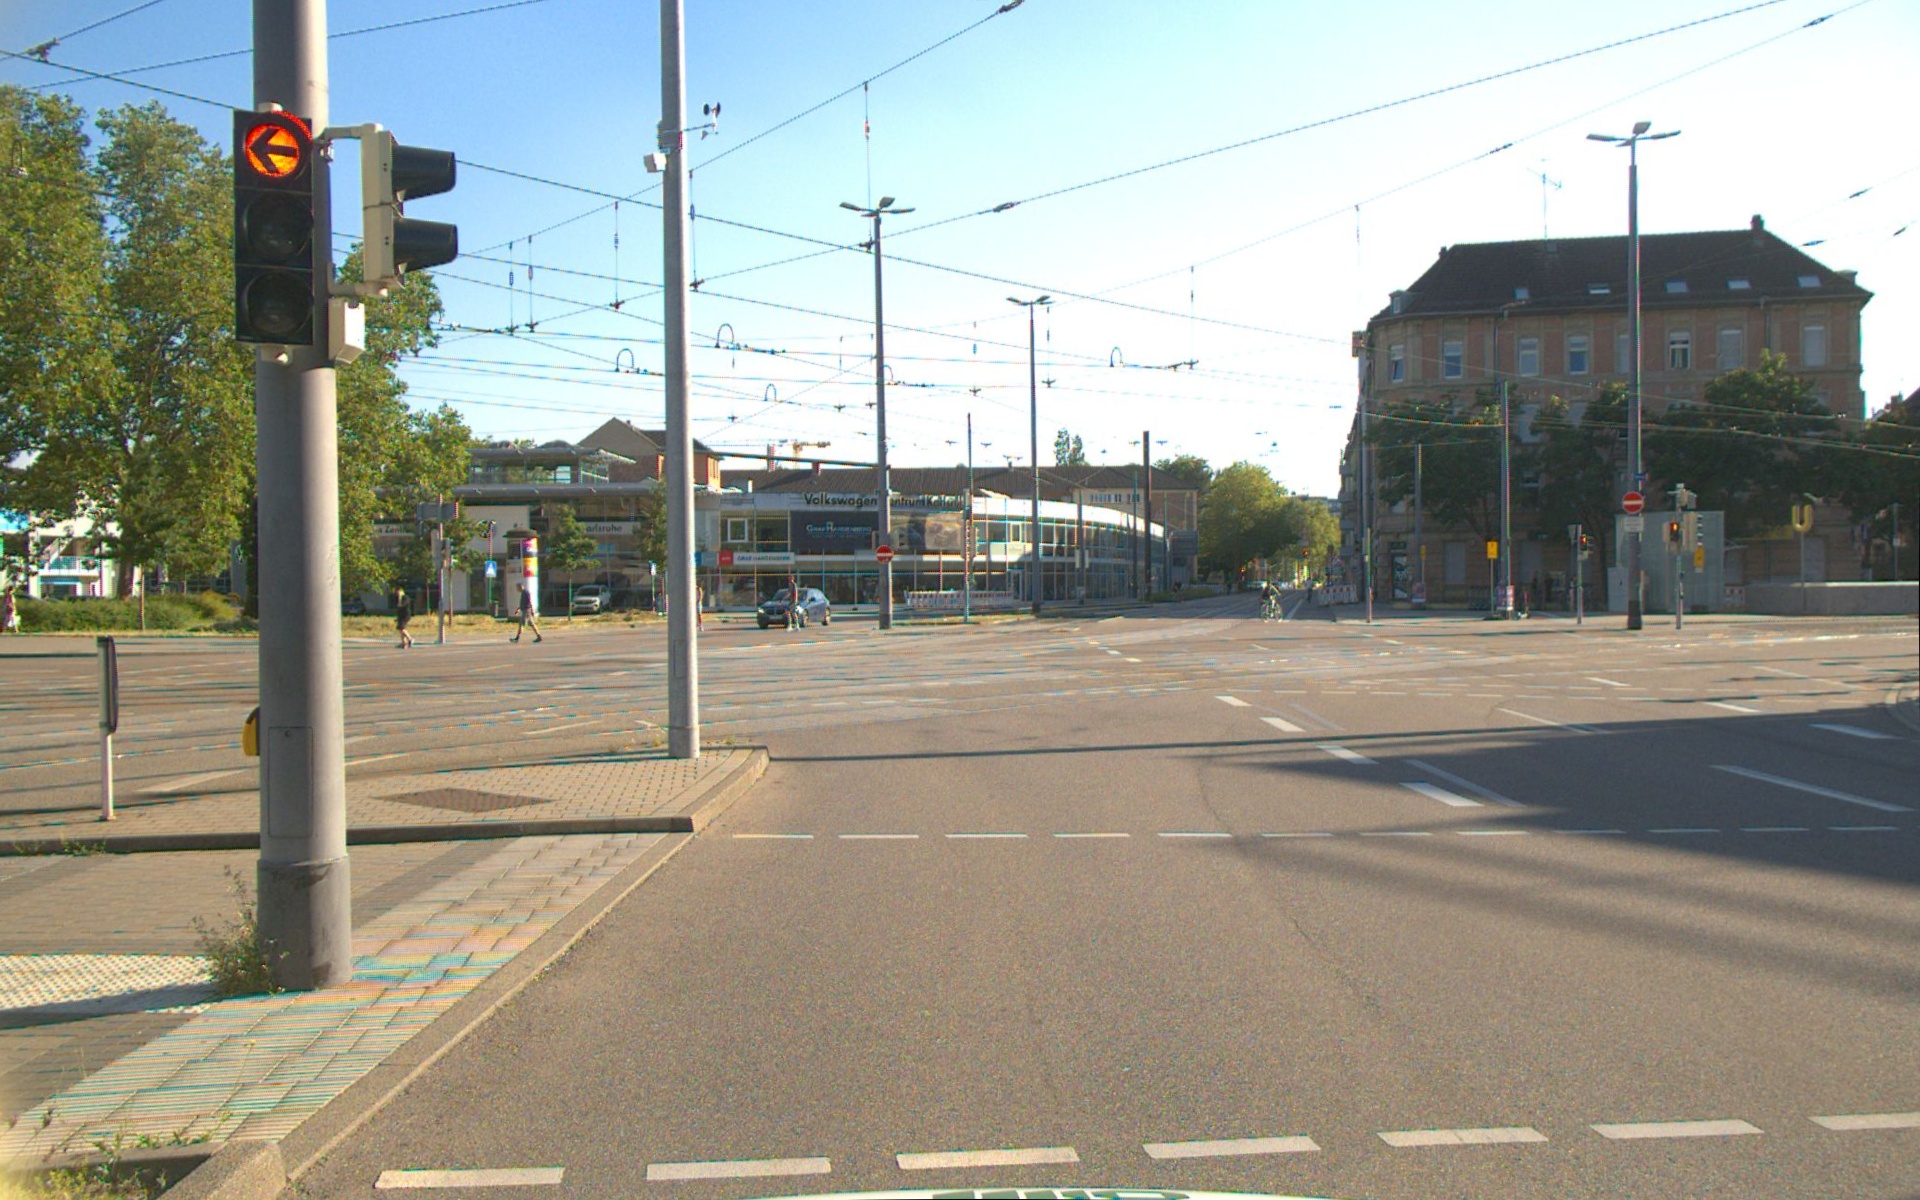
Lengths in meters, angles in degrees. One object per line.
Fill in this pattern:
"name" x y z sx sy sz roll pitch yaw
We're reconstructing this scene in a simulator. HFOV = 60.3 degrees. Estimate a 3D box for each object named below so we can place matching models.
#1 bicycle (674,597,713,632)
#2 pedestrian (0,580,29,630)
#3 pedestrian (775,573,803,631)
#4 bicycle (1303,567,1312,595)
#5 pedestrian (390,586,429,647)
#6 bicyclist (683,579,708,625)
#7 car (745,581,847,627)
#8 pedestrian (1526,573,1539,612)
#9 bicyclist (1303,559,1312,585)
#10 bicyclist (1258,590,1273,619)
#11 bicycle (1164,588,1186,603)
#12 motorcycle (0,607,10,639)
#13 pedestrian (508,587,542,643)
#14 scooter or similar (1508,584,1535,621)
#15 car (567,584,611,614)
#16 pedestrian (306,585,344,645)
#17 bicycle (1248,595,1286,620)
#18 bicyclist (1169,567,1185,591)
"bicycle" -9.565 0.526 59.466 0.599 1.210 1.870 1 0 17
"pedestrian" -33.269 0.176 58.068 0.839 1.723 0.496 1 -1 -3
"pedestrian" -5.765 0.074 55.733 0.777 1.919 0.759 1 -1 6
"bicycle" 25.844 -1.412 122.968 0.604 2.049 2.402 1 0 13
"pedestrian" -15.831 0.480 47.601 0.777 1.736 0.759 1 -1 6
"bicyclist" -9.528 0.083 59.566 0.585 1.644 0.823 1 -1 16
"car" -6.067 0.165 61.651 1.954 1.613 3.996 1 0 26
"pedestrian" 30.231 -0.416 87.298 0.589 2.049 0.647 -1 0 14
"bicyclist" 25.848 -2.080 122.979 0.586 1.840 0.828 1 -1 12
"bicyclist" 11.871 0.180 64.244 0.395 1.136 0.403 1 -1 -41
"bicycle" 14.291 -0.326 109.954 0.650 0.969 1.584 1 0 -30
"motorcycle" -28.927 0.667 48.486 1.748 0.930 0.675 1 0 -21
"pedestrian" -13.589 0.466 51.720 0.777 1.736 0.759 1 -1 6
"scooter or similar" 21.687 0.105 63.900 0.769 1.400 1.910 1 0 13
"car" -22.157 -0.052 98.855 1.954 1.780 3.997 1 0 -4
"pedestrian" -18.756 0.435 48.864 0.777 1.736 0.759 1 -1 6
"bicycle" 11.949 0.290 64.310 1.829 0.958 0.405 1 -1 -42
"bicyclist" 14.381 -1.377 109.740 0.763 1.604 0.754 1 -1 -31
